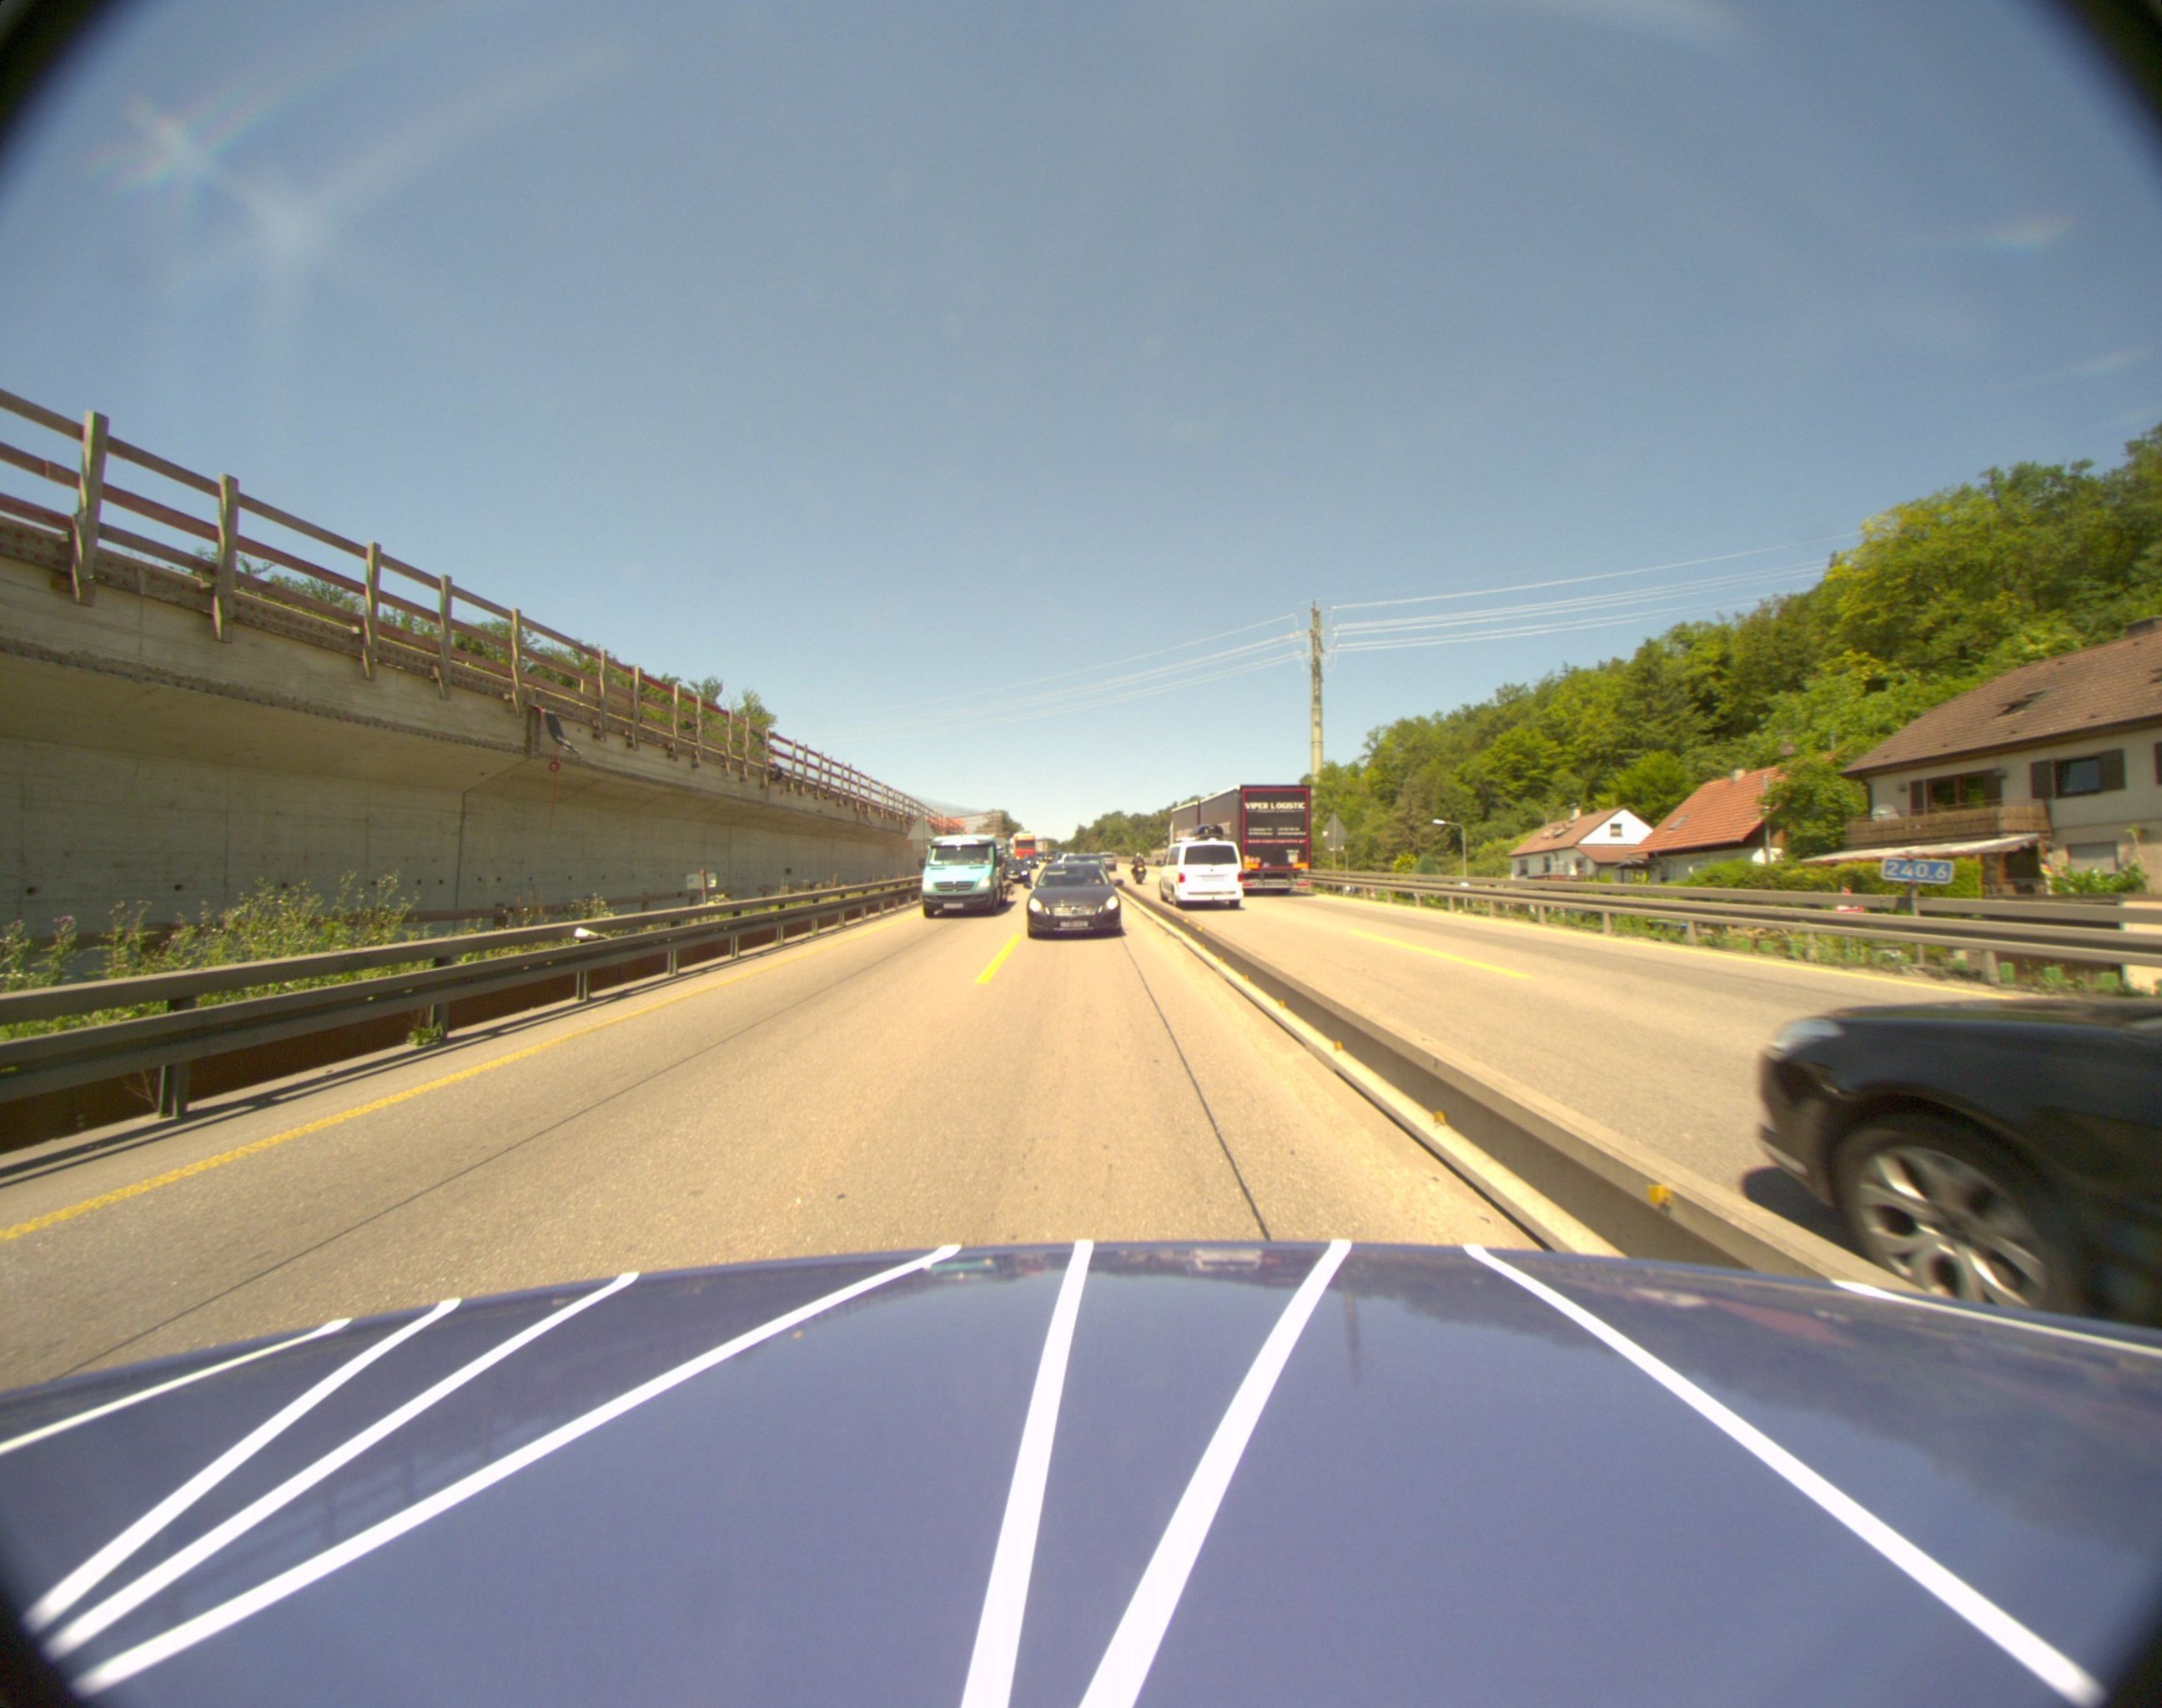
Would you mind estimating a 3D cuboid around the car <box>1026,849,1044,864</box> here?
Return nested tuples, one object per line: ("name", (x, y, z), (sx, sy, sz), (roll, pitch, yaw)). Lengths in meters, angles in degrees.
("car", (-4.720, 0.238, 78.283), (1.647, 1.366, 3.343), (-2, 1, -1))

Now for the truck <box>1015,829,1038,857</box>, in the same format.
("truck", (-7.236, -1.433, 99.622), (2.472, 3.464, 9.860), (-2, 1, -7))

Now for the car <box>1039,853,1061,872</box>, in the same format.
("car", (-2.427, 0.640, 60.043), (1.647, 1.366, 3.343), (-2, 1, -1))

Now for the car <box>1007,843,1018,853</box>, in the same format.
("car", (-11.775, -1.032, 130.570), (1.586, 1.660, 3.343), (-2, 1, -1))

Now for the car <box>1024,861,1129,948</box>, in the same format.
("car", (-0.249, 0.938, 16.045), (1.845, 1.475, 4.560), (-1, 0, -5))

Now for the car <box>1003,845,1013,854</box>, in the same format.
("car", (-14.872, -0.907, 155.091), (1.586, 1.666, 3.343), (-2, 1, -1))

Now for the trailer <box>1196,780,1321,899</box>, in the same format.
("trailer", (6.795, -0.466, 30.574), (2.764, 4.046, 8.634), (-2, 0, -1))

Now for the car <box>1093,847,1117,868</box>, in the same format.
("car", (2.012, 0.255, 64.847), (1.864, 1.602, 4.067), (-2, 1, -1))

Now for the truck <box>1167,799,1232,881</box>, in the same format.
("truck", (6.600, -0.751, 43.002), (2.759, 4.258, 4.956), (-2, 0, 0))

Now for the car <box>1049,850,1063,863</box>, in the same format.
("car", (-2.990, 0.265, 91.187), (1.586, 1.366, 3.343), (-2, 1, -1))

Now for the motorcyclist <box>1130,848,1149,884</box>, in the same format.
("motorcyclist", (3.037, 0.619, 39.589), (0.855, 1.844, 0.983), (-2, 0, 0))

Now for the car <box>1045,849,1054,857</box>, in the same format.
("car", (-5.940, -0.130, 142.693), (1.586, 1.366, 3.343), (-2, 1, -1))

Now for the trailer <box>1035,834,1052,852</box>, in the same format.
("trailer", (-9.618, -2.885, 194.344), (3.262, 4.354, 14.047), (-2, 1, -6))

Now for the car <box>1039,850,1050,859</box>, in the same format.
("car", (-5.761, 0.088, 119.282), (1.586, 1.366, 3.343), (-2, 1, -1))

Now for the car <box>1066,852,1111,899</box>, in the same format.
("car", (0.212, 0.762, 28.674), (1.520, 1.543, 3.859), (-1, 1, -2))

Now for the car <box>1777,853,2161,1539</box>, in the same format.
("car", (3.431, 0.802, 0.324), (1.999, 1.495, 4.648), (-2, 1, 0))

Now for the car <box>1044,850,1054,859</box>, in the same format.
("car", (-5.552, 0.076, 132.306), (1.586, 1.366, 3.343), (-2, 1, -1))

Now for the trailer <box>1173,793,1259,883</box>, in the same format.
("trailer", (6.671, -0.704, 38.865), (2.764, 4.046, 8.007), (-2, 0, -1))

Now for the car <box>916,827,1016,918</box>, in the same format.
("car", (-3.271, 0.419, 23.096), (2.217, 2.312, 6.899), (-1, 1, -2))

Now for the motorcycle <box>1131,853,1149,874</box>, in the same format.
("motorcycle", (3.051, 0.475, 39.435), (0.788, 1.073, 1.912), (-2, 0, 0))

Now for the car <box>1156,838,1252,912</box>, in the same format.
("car", (3.586, 0.518, 23.081), (2.027, 1.949, 4.897), (-2, 1, 0))

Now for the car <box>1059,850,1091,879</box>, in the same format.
("car", (-0.393, 0.603, 45.900), (1.736, 1.558, 3.618), (-2, 1, -2))

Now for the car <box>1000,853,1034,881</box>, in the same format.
("car", (-3.641, 0.725, 43.633), (1.739, 1.401, 3.584), (-2, 1, -2))
